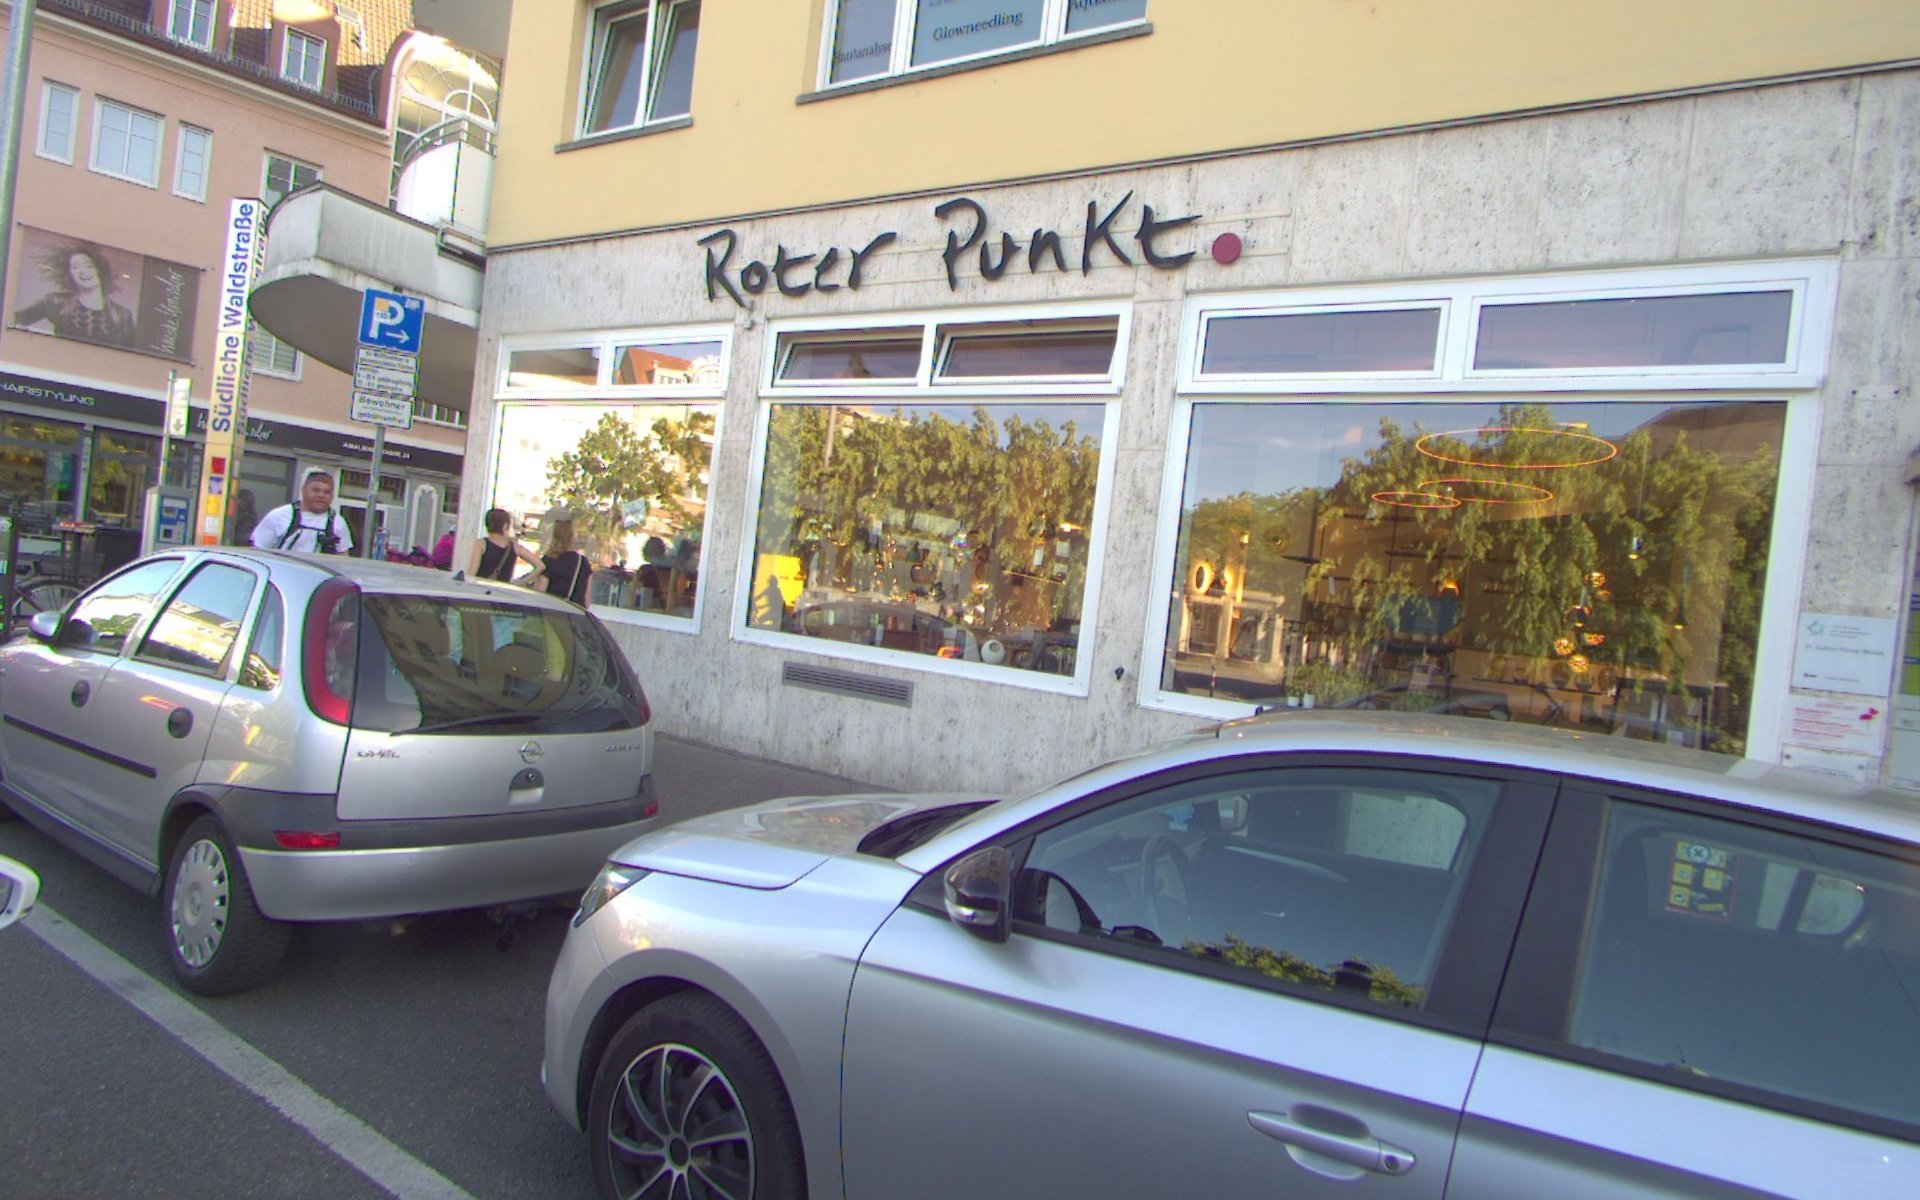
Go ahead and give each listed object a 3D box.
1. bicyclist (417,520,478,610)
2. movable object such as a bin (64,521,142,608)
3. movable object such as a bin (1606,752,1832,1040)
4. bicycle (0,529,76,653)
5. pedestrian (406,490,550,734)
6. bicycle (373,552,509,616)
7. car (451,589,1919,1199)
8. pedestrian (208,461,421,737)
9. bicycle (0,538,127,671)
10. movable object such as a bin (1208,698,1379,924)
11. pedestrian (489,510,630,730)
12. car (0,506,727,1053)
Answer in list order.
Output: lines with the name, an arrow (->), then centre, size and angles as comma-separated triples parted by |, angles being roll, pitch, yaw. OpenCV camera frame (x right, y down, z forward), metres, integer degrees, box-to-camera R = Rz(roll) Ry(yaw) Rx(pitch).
bicyclist -> -10.606, -0.710, 20.818 | 0.671, 1.778, 0.862 | 6, 2, 40
movable object such as a bin -> -11.966, -0.489, 14.045 | 0.716, 1.117, 0.636 | 7, 2, 35
movable object such as a bin -> 3.376, 1.266, 4.545 | 0.639, 1.035, 0.738 | 6, -1, 31
bicycle -> -9.054, -0.150, 8.795 | 0.642, 1.072, 1.816 | 7, -1, 33
pedestrian -> -3.954, 0.082, 8.249 | 0.881, 1.874, 0.679 | 7, 3, 41
bicycle -> -10.678, -0.310, 20.793 | 0.702, 1.166, 2.386 | 6, 2, 38
car -> 0.782, 0.944, 2.279 | 3.624, 1.453, 1.587 | 6, -2, 30
pedestrian -> -4.686, -0.003, 7.318 | 0.967, 1.844, 0.809 | 6, -1, 35
bicycle -> -8.163, 0.003, 8.251 | 0.642, 1.057, 1.884 | 7, 0, 33
movable object such as a bin -> 1.827, 1.097, 5.475 | 0.639, 1.035, 0.738 | 6, -1, 31
pedestrian -> -3.472, 0.162, 8.725 | 0.775, 1.777, 0.720 | 6, 2, 36
car -> -2.954, 0.484, 4.459 | 3.520, 1.443, 1.587 | 6, -2, 32
